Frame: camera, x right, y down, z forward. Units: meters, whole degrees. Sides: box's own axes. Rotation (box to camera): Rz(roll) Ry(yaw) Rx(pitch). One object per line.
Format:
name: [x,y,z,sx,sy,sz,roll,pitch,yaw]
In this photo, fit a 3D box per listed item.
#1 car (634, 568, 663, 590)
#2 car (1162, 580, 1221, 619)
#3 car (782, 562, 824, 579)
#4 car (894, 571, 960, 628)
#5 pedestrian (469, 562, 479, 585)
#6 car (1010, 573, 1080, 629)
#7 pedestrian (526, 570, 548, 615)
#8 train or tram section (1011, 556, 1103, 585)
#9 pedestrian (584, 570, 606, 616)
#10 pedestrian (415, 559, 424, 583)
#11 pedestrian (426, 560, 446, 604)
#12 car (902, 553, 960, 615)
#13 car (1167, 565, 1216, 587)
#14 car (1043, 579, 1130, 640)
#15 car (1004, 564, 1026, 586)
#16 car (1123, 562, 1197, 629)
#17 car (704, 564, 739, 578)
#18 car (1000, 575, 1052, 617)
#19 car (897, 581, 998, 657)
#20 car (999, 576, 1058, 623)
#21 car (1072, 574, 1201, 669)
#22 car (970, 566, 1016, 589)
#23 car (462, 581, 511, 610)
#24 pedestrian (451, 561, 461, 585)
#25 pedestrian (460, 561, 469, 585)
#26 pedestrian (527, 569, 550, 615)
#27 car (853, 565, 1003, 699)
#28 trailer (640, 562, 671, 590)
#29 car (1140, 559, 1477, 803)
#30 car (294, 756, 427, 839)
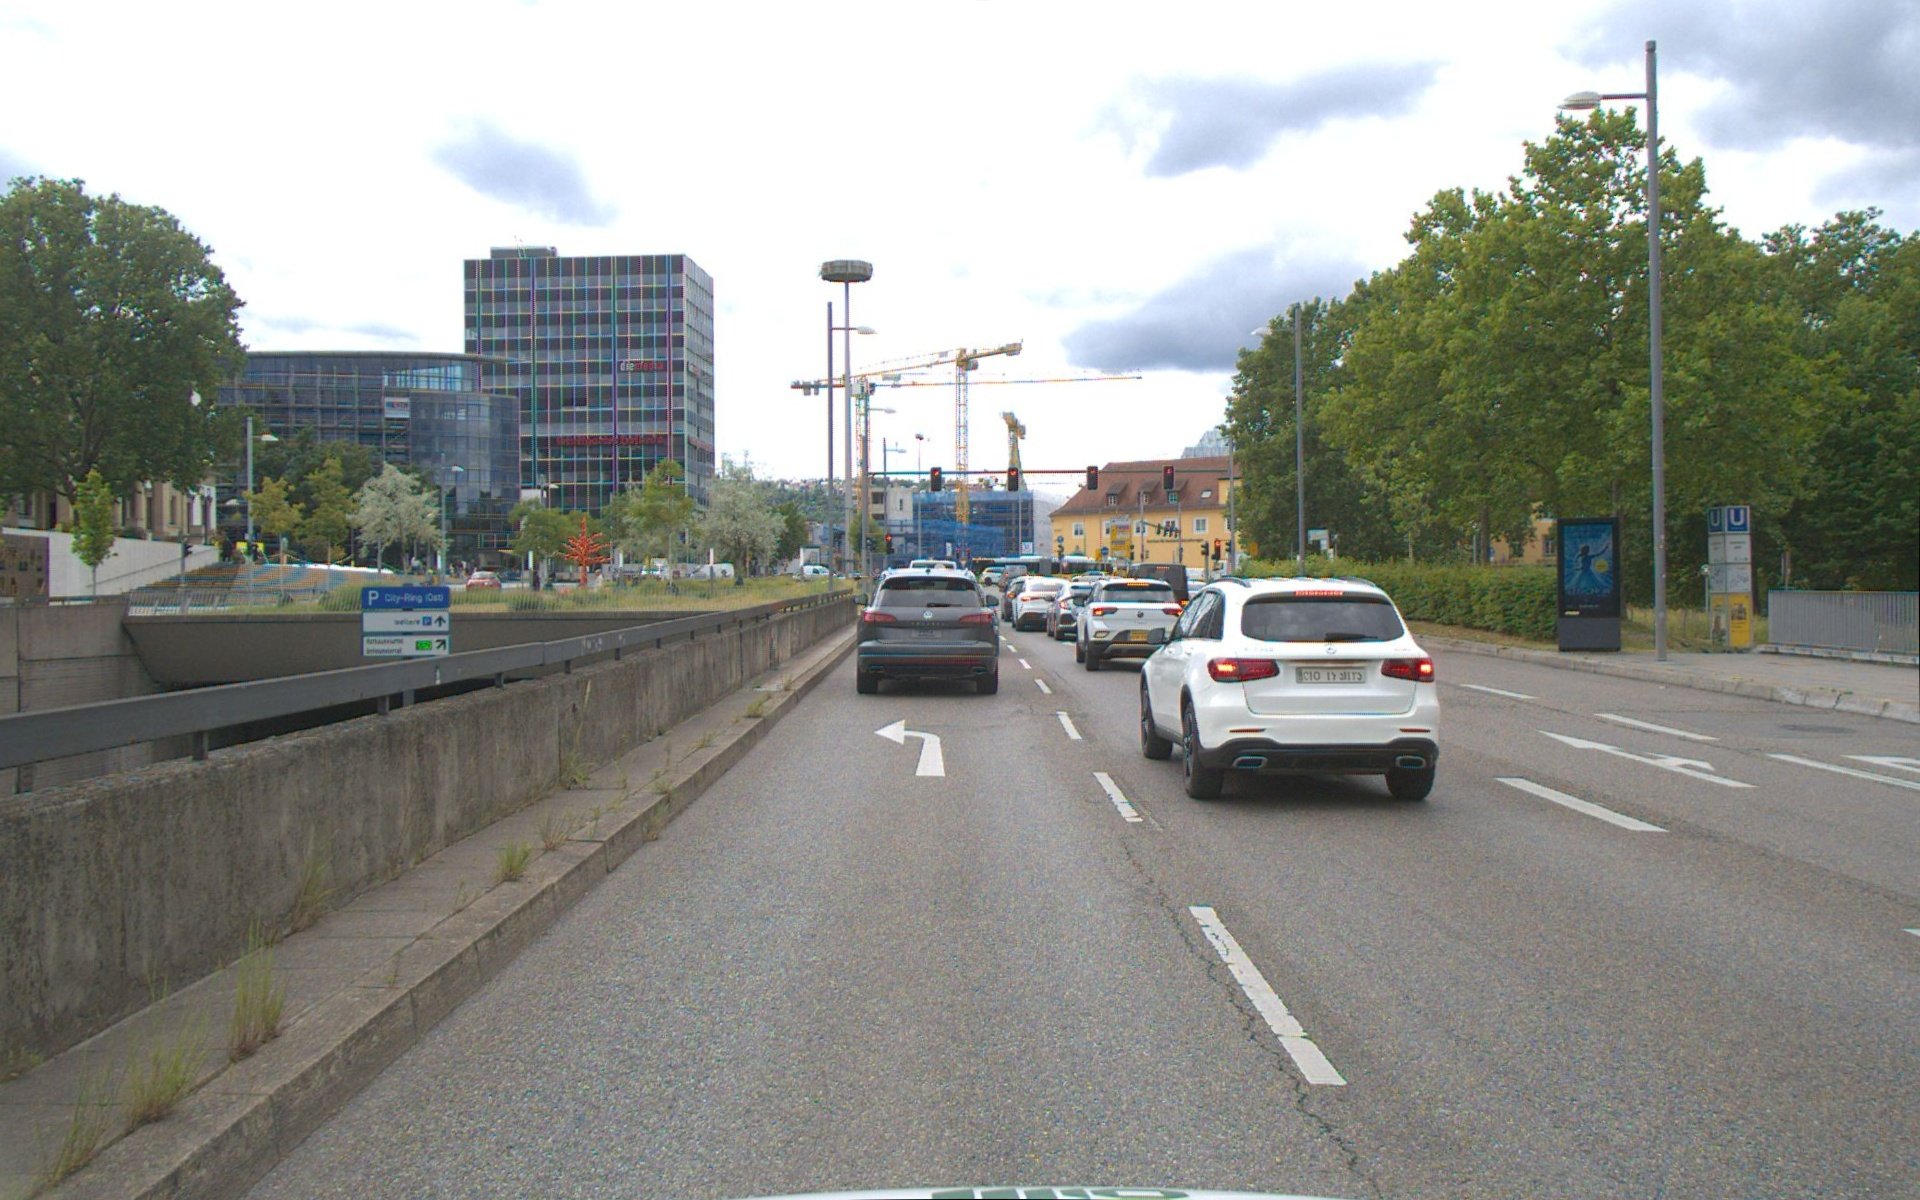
car: [-29.861,-2.037,158.666,1.953,2.048,4.693,0,2,0]
car: [9.167,-0.040,65.765,1.722,1.472,3.632,1,0,-2]
car: [-16.205,-3.053,170.883,4.030,1.638,1.823,1,-1,35]
car: [-1.006,-0.053,50.758,1.912,1.627,3.930,1,1,-1]
pedestrian: [-43.080,-2.333,146.671,0.728,2.048,1.108,-1,2,-20]
car: [2.457,0.017,48.818,1.887,1.556,4.490,0,0,1]
pedestrian: [-19.267,-0.351,75.326,0.781,2.048,0.829,-1,2,-28]
train or tram section: [10.419,-3.210,178.481,10.225,3.062,2.586,1,-1,37]
pedestrian: [-16.452,-0.321,74.597,0.842,2.048,0.629,-1,2,-1]
pedestrian: [-46.448,-2.468,142.113,0.728,2.048,0.788,-1,2,-21]
pedestrian: [-24.938,-0.867,78.717,0.716,2.047,0.628,-1,5,-8]
car: [-1.013,-0.576,58.336,1.912,2.053,3.930,1,1,-1]
car: [23.115,-2.410,165.344,4.367,2.049,1.994,1,-1,34]
car: [3.161,0.231,42.103,1.887,1.457,4.490,0,0,1]
car: [4.348,-1.985,131.282,1.586,1.656,4.000,1,0,0]
car: [6.404,-0.146,53.290,1.871,2.049,4.012,1,0,0]
car: [-29.179,-3.551,202.549,3.908,1.596,1.835,1,-1,25]
car: [2.522,-0.158,63.927,1.887,1.556,4.048,0,0,1]
car: [-0.274,0.340,33.978,1.912,1.408,3.930,1,1,-1]
car: [2.342,-0.025,57.312,1.887,1.556,4.048,0,0,1]
car: [3.080,0.347,29.699,1.887,1.578,4.490,0,0,1]
car: [3.056,-2.077,153.276,3.924,2.049,1.990,1,-1,39]
car: [-32.018,-0.326,111.932,2.131,1.887,4.734,0,1,-3]
pedestrian: [-44.102,-2.367,144.668,0.728,2.048,1.108,-1,2,-20]
pedestrian: [-43.350,-2.365,144.734,0.728,2.048,0.788,-1,2,-21]
pedestrian: [-18.986,-0.358,74.512,0.781,2.048,0.829,-1,2,-28]
car: [-0.445,0.389,23.461,1.912,1.680,3.999,1,1,-1]
trailer: [-30.131,-2.444,163.755,1.996,2.650,5.508,1,2,-1]
car: [2.649,0.548,13.668,1.887,1.682,4.490,0,0,1]
car: [-17.283,5.658,47.949,1.954,1.667,5.247,-6,-1,-2]
